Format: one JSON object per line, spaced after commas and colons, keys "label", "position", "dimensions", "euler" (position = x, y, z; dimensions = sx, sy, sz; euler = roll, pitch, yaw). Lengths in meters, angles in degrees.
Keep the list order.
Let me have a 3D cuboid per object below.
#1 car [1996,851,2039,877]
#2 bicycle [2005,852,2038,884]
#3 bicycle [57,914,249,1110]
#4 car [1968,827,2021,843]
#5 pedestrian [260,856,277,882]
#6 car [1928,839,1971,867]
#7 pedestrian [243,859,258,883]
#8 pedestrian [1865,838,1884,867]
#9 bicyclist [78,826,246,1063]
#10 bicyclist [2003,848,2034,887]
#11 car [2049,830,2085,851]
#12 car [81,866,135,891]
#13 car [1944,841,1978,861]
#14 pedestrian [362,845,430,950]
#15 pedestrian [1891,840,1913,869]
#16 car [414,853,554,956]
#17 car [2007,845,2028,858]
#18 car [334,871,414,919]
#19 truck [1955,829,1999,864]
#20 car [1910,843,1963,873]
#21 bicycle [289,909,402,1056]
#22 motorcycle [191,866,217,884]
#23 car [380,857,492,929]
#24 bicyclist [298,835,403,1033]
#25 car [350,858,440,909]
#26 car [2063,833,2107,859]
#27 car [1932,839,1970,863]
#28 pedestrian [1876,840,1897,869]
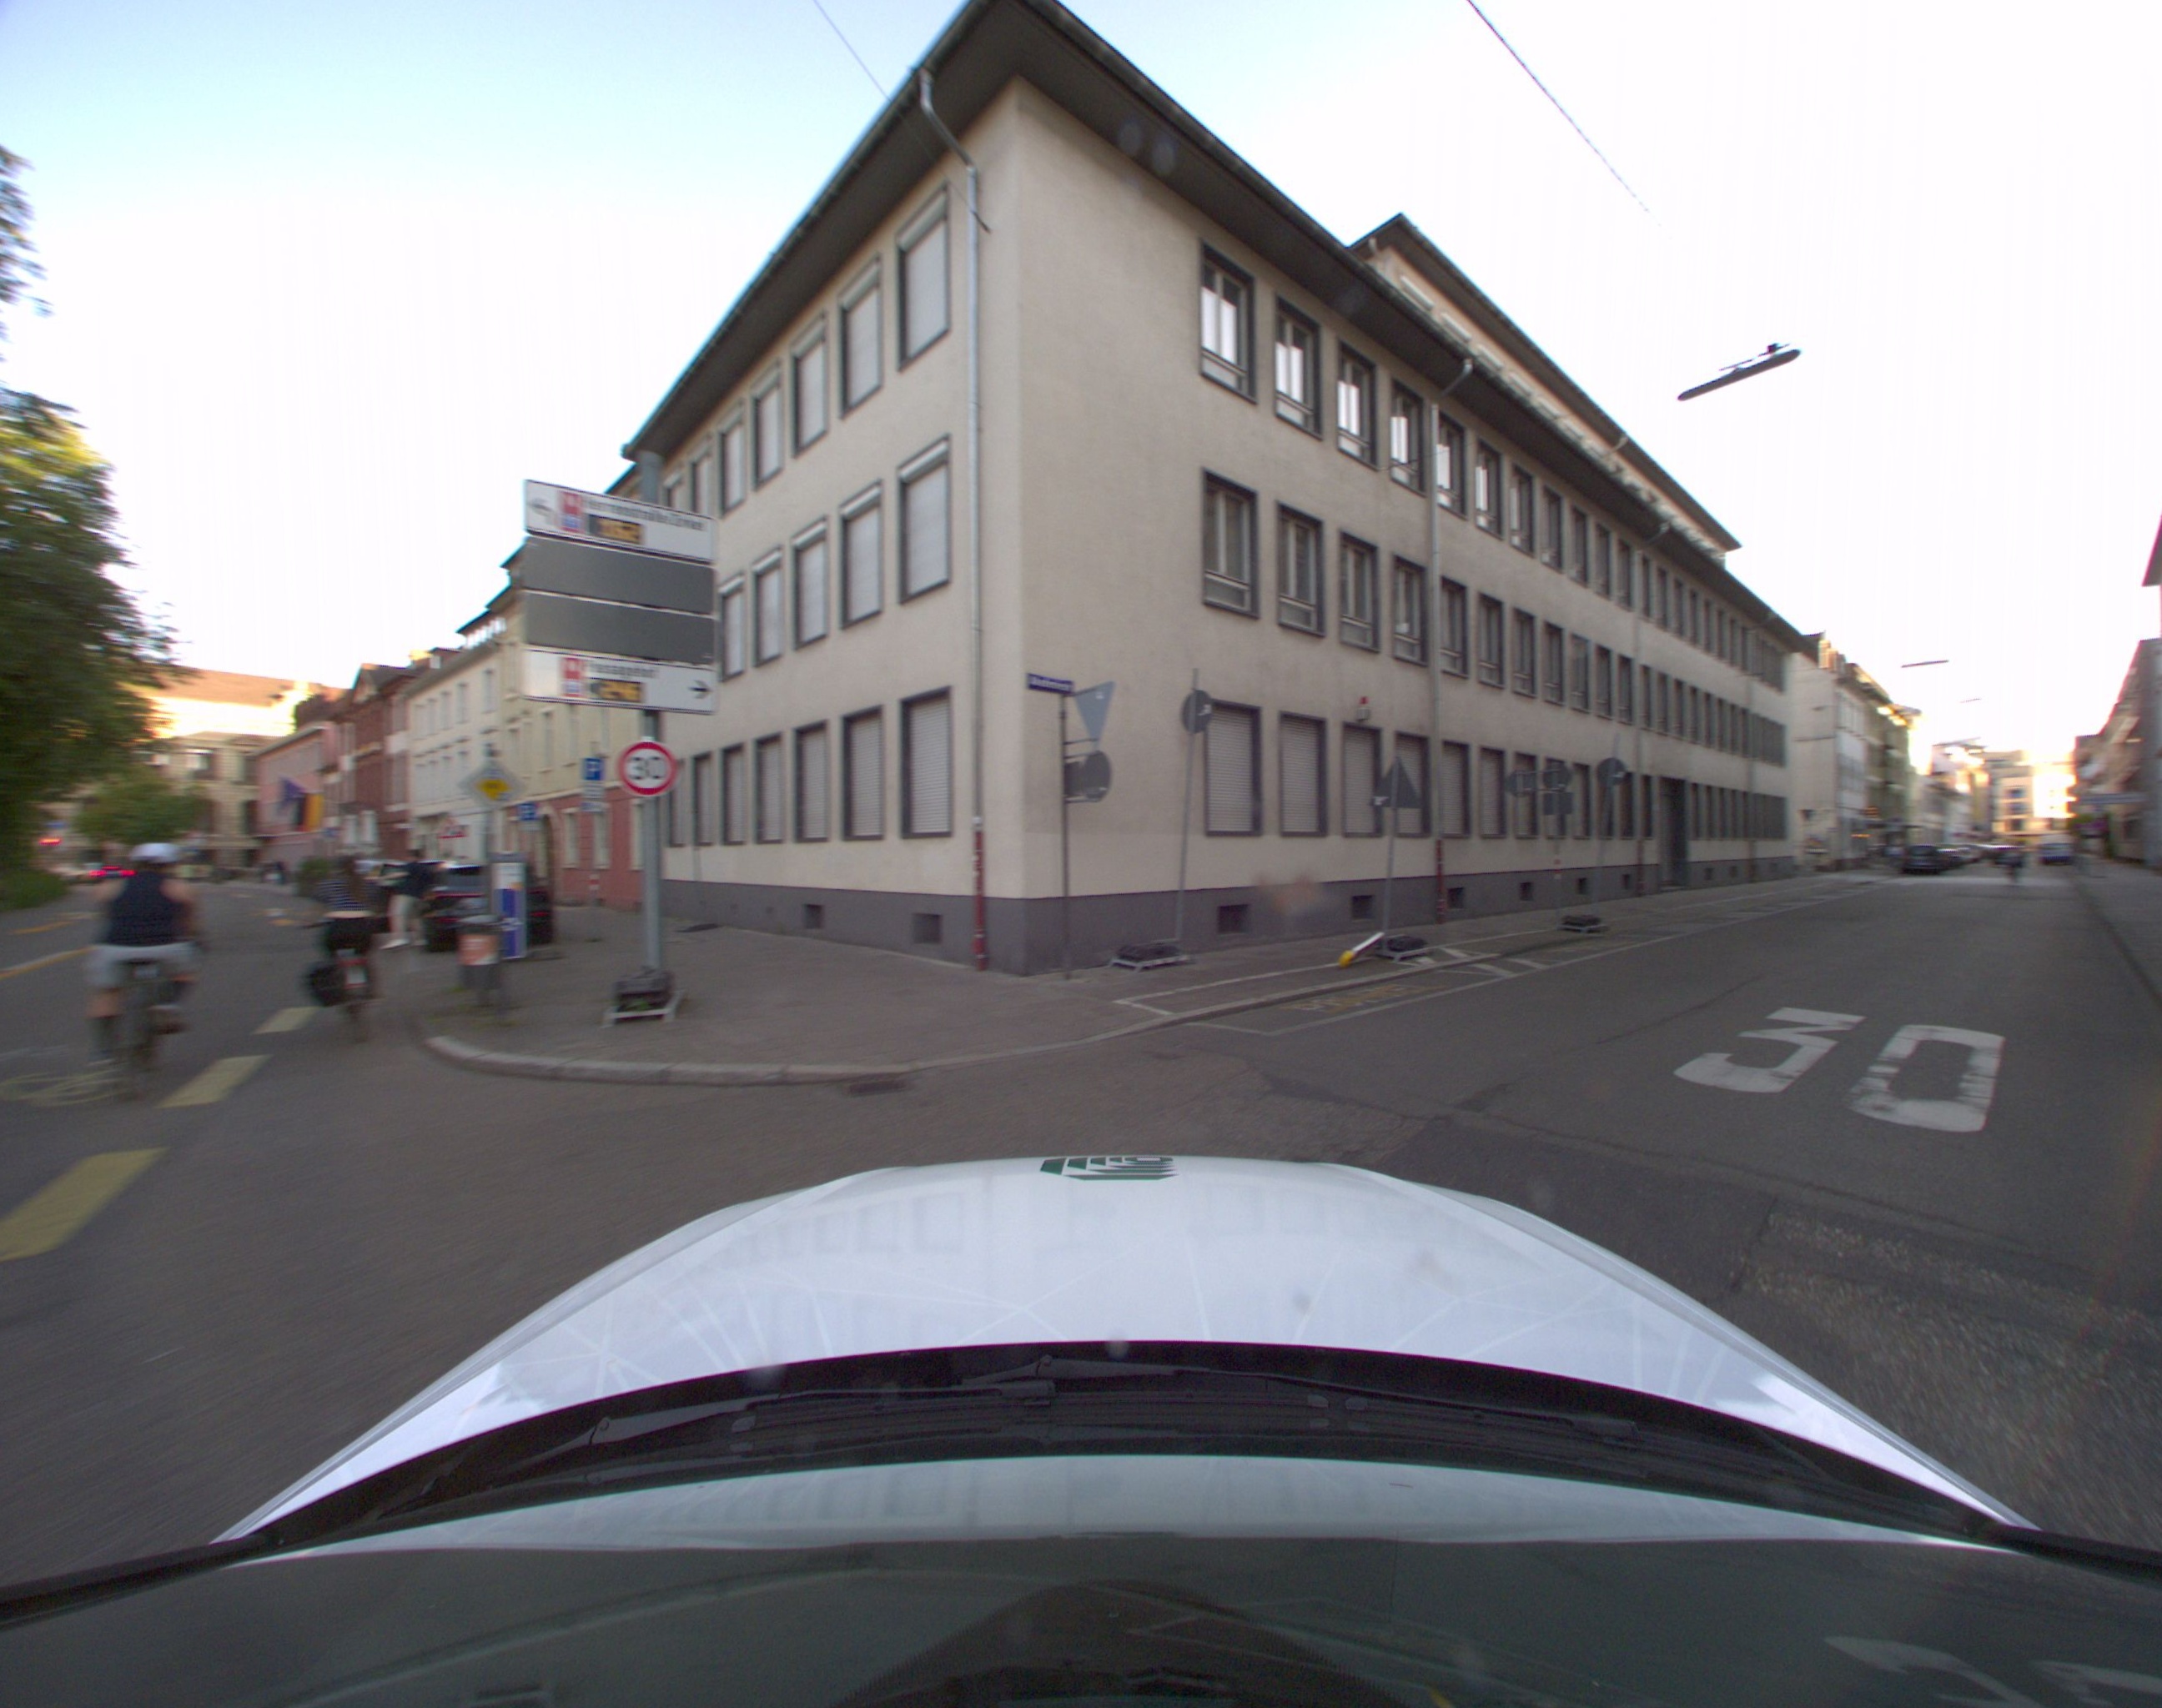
{"label": "car", "position": [70.132, 0.728, 61.037], "dimensions": [4.022, 1.904, 1.976], "euler": [-1, -1, -42]}
{"label": "bicycle", "position": [39.242, 0.580, 33.975], "dimensions": [2.591, 1.277, 0.787], "euler": [-1, -1, -39]}
{"label": "bicycle", "position": [-6.589, 1.026, 5.880], "dimensions": [0.675, 1.071, 1.878], "euler": [2, -1, -42]}
{"label": "car", "position": [106.747, -2.161, 95.250], "dimensions": [3.950, 1.770, 2.027], "euler": [0, 0, 44]}
{"label": "pedestrian", "position": [-55.376, 1.007, 55.504], "dimensions": [0.578, 1.762, 0.757], "euler": [0, 0, 41]}
{"label": "car", "position": [60.238, -0.081, 56.510], "dimensions": [4.022, 1.816, 1.975], "euler": [-1, -1, -43]}
{"label": "pedestrian", "position": [-55.655, 1.156, 54.585], "dimensions": [0.578, 1.581, 0.674], "euler": [0, 0, 41]}
{"label": "pedestrian", "position": [51.671, -0.087, 53.028], "dimensions": [0.748, 1.829, 0.740], "euler": [-1, -1, 33]}
{"label": "bicyclist", "position": [-6.559, 0.604, 5.858], "dimensions": [0.674, 1.566, 0.690], "euler": [2, -2, -42]}
{"label": "bicyclist", "position": [39.288, 0.556, 34.120], "dimensions": [1.017, 1.583, 0.782], "euler": [0, -1, -39]}
{"label": "car", "position": [95.438, -1.278, 78.898], "dimensions": [4.195, 1.886, 1.976], "euler": [-1, -1, -42]}
{"label": "car", "position": [-64.607, 1.609, 54.053], "dimensions": [3.815, 1.560, 1.830], "euler": [0, 0, 33]}
{"label": "car", "position": [82.551, -0.268, 76.382], "dimensions": [4.021, 1.816, 1.976], "euler": [-1, -1, -41]}
{"label": "pedestrian", "position": [-12.734, 0.781, 15.128], "dimensions": [0.908, 1.866, 0.921], "euler": [0, 0, -44]}
{"label": "pedestrian", "position": [54.102, 0.038, 53.661], "dimensions": [0.758, 1.911, 0.730], "euler": [-1, -1, -20]}
{"label": "car", "position": [-11.407, 0.831, 15.454], "dimensions": [1.828, 1.682, 3.873], "euler": [0, 0, -41]}
{"label": "car", "position": [149.366, -0.316, 129.912], "dimensions": [4.023, 2.013, 1.976], "euler": [1, 0, -44]}
{"label": "car", "position": [-25.851, 1.442, 29.757], "dimensions": [3.816, 1.560, 1.829], "euler": [0, 0, 43]}
{"label": "truck", "position": [92.241, -0.752, 83.947], "dimensions": [9.670, 3.505, 2.746], "euler": [0, 0, -44]}
{"label": "car", "position": [51.426, 0.231, 48.946], "dimensions": [4.021, 1.728, 1.976], "euler": [-1, -1, -41]}
{"label": "bicycle", "position": [-6.888, 1.122, 7.711], "dimensions": [0.658, 1.071, 2.232], "euler": [2, -2, -39]}
{"label": "motorcycle", "position": [-61.864, 1.455, 57.453], "dimensions": [2.367, 1.248, 1.051], "euler": [0, 0, 39]}
{"label": "car", "position": [-16.944, 0.931, 21.331], "dimensions": [3.950, 1.684, 1.829], "euler": [0, 0, 44]}
{"label": "bicyclist", "position": [-6.921, 0.713, 7.758], "dimensions": [0.655, 1.760, 0.854], "euler": [2, -1, -39]}
{"label": "car", "position": [-22.702, 0.915, 26.905], "dimensions": [3.816, 1.560, 1.829], "euler": [0, 0, 43]}
{"label": "car", "position": [80.559, -0.608, 65.398], "dimensions": [4.022, 1.992, 1.976], "euler": [-1, -1, -42]}
{"label": "car", "position": [68.805, -0.210, 64.403], "dimensions": [4.022, 1.816, 1.976], "euler": [-1, -1, -42]}
{"label": "pedestrian", "position": [54.179, 0.050, 54.756], "dimensions": [0.758, 1.911, 0.730], "euler": [-1, -1, -20]}
